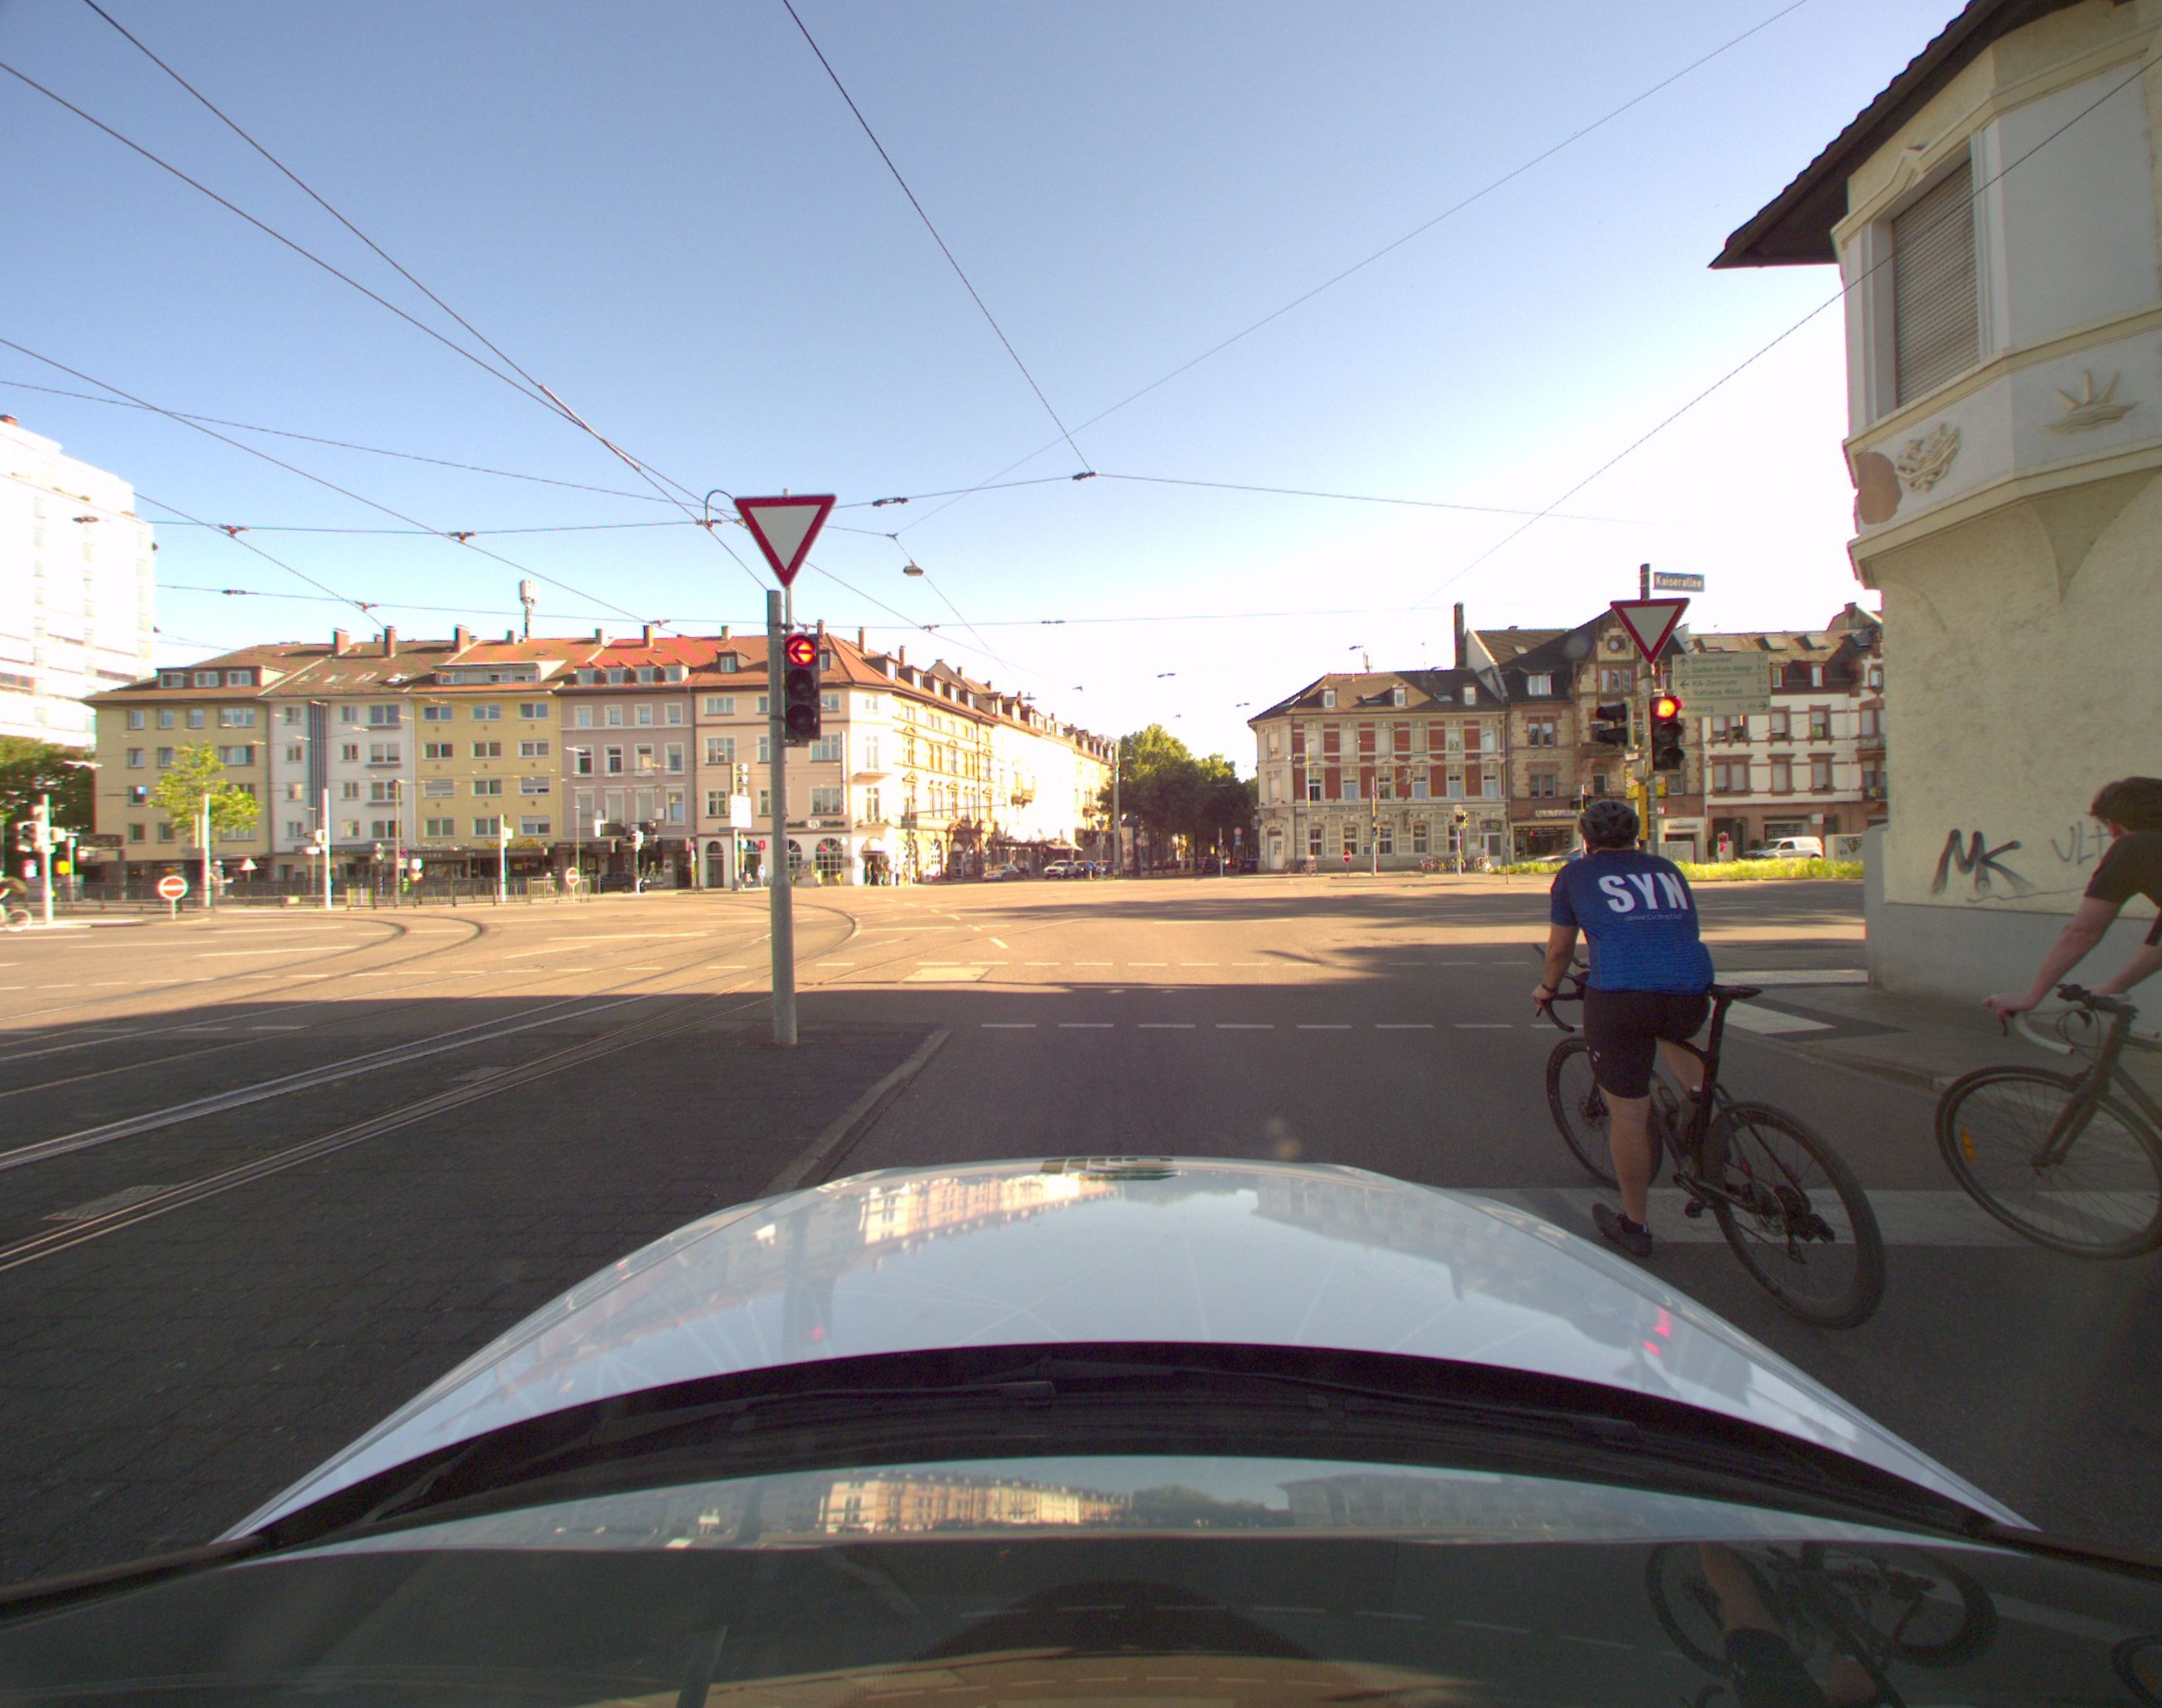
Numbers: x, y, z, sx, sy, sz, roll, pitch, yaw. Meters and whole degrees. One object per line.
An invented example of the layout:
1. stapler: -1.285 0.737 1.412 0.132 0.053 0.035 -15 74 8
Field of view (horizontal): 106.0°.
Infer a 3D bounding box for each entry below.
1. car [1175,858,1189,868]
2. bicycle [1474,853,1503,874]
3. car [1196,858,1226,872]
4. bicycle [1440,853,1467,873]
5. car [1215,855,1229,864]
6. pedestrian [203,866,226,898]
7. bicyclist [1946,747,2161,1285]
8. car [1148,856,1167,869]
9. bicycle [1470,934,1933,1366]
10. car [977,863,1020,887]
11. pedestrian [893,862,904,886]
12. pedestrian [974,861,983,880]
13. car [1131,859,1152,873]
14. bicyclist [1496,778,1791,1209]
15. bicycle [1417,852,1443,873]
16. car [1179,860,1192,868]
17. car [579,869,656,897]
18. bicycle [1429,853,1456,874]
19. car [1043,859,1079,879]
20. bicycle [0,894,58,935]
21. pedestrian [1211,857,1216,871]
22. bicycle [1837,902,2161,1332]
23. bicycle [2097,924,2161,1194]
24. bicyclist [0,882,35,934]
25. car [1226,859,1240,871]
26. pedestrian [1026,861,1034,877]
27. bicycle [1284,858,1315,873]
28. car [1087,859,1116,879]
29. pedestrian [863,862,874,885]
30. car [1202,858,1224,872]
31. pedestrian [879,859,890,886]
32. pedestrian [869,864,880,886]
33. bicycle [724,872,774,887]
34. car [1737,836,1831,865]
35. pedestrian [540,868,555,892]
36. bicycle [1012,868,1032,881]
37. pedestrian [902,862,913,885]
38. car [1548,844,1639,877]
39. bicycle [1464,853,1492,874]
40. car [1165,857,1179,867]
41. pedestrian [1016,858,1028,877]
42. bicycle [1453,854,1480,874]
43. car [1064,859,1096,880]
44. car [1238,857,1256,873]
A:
1. car: 16.824 1.478 135.883 1.546 1.513 3.673 -1 -1 19
2. bicycle: 26.194 0.611 52.359 0.626 1.287 2.663 0 -1 3
3. car: 18.337 1.570 114.729 3.955 1.904 2.009 -1 -1 17
4. bicycle: 23.981 0.587 52.420 0.626 1.287 2.663 0 -1 3
5. car: 23.254 0.925 134.263 1.546 1.513 3.673 -1 -1 19
6. pedestrian: -44.647 1.413 41.955 0.523 1.628 0.577 0 -1 0
7. bicyclist: 3.629 0.483 2.588 0.803 1.606 0.883 0 -1 0
8. car: 11.486 1.336 122.278 1.977 1.904 4.019 -1 -1 19
9. bicycle: 2.199 0.935 3.213 0.623 1.085 1.705 0 -1 5
10. car: -6.807 1.681 67.507 1.977 1.904 4.019 -1 -1 19
11. pedestrian: -12.640 1.370 56.370 0.631 1.634 0.700 0 -1 -2
12. pedestrian: -8.841 1.395 70.559 0.539 1.631 0.709 -1 -1 15
13. car: 8.396 1.627 112.697 1.977 1.904 4.019 -1 -1 19
14. bicyclist: 2.180 0.477 3.282 0.635 1.494 0.885 0 1 6
15. bicycle: 22.449 0.544 52.465 0.689 1.287 2.663 0 -1 3
16. car: 18.266 1.730 142.184 1.546 1.513 3.673 -1 -1 19
17. car: -30.592 1.919 53.822 3.962 1.670 2.006 -2 0 10
18. bicycle: 23.258 0.599 52.427 0.689 1.287 2.663 0 -1 3
19. car: -1.637 1.203 67.490 1.979 1.618 4.015 -1 -1 14
20. bicycle: -29.169 1.645 22.075 0.571 1.070 1.796 0 -1 3
21. pedestrian: 17.155 1.248 105.591 0.635 1.796 0.492 -1 -1 14
22. bicycle: 3.630 0.822 2.652 0.752 1.236 1.702 0 -1 0
23. bicycle: 4.480 0.795 2.461 0.647 1.031 1.772 0 -1 3
24. bicyclist: -29.156 1.448 22.069 0.556 1.366 0.803 0 -1 2
25. car: 21.197 1.526 113.357 1.760 1.530 4.013 -1 -1 12
26. pedestrian: -4.998 1.456 79.804 0.539 1.631 0.709 -1 -1 15
27. bicycle: 15.245 0.795 56.883 2.040 0.998 0.631 -1 -1 4
28. car: 2.029 1.407 79.786 1.979 1.904 4.015 -1 -1 14
29. pedestrian: -14.890 1.389 57.092 0.631 1.612 0.465 0 -1 -2
30. car: 13.228 1.070 81.416 1.741 1.362 3.871 -1 -1 15
31. pedestrian: -13.816 1.301 57.342 0.631 1.881 0.465 0 -1 -2
32. pedestrian: -14.334 1.460 56.563 0.631 1.477 0.465 0 -1 -2
33. bicycle: -23.428 1.792 57.470 3.118 0.980 1.002 0 -1 1
34. car: 45.308 -0.222 52.572 4.349 1.778 2.000 0 -1 1
35. pedestrian: -37.227 1.825 56.833 0.631 1.634 0.700 0 -1 -2
36. bicycle: -4.735 1.639 65.562 0.756 1.008 2.406 -1 -1 16
37. pedestrian: -12.308 1.398 57.660 0.631 1.634 0.700 0 -1 -2
38. car: 28.340 0.367 45.141 3.769 1.778 2.000 0 -1 1
39. bicycle: 25.499 0.612 52.387 0.626 1.287 2.663 0 -1 3
40. car: 14.723 1.289 131.973 1.546 1.513 3.673 -1 -1 19
41. pedestrian: -4.763 1.109 65.494 0.814 1.512 0.601 -1 -1 16
42. bicycle: 24.771 0.629 52.391 0.626 1.287 2.663 0 -1 3
43. car: -0.016 1.375 73.964 1.979 1.904 4.015 -1 -1 14
44. car: 16.816 1.134 82.367 1.680 1.565 3.855 -1 -1 14
